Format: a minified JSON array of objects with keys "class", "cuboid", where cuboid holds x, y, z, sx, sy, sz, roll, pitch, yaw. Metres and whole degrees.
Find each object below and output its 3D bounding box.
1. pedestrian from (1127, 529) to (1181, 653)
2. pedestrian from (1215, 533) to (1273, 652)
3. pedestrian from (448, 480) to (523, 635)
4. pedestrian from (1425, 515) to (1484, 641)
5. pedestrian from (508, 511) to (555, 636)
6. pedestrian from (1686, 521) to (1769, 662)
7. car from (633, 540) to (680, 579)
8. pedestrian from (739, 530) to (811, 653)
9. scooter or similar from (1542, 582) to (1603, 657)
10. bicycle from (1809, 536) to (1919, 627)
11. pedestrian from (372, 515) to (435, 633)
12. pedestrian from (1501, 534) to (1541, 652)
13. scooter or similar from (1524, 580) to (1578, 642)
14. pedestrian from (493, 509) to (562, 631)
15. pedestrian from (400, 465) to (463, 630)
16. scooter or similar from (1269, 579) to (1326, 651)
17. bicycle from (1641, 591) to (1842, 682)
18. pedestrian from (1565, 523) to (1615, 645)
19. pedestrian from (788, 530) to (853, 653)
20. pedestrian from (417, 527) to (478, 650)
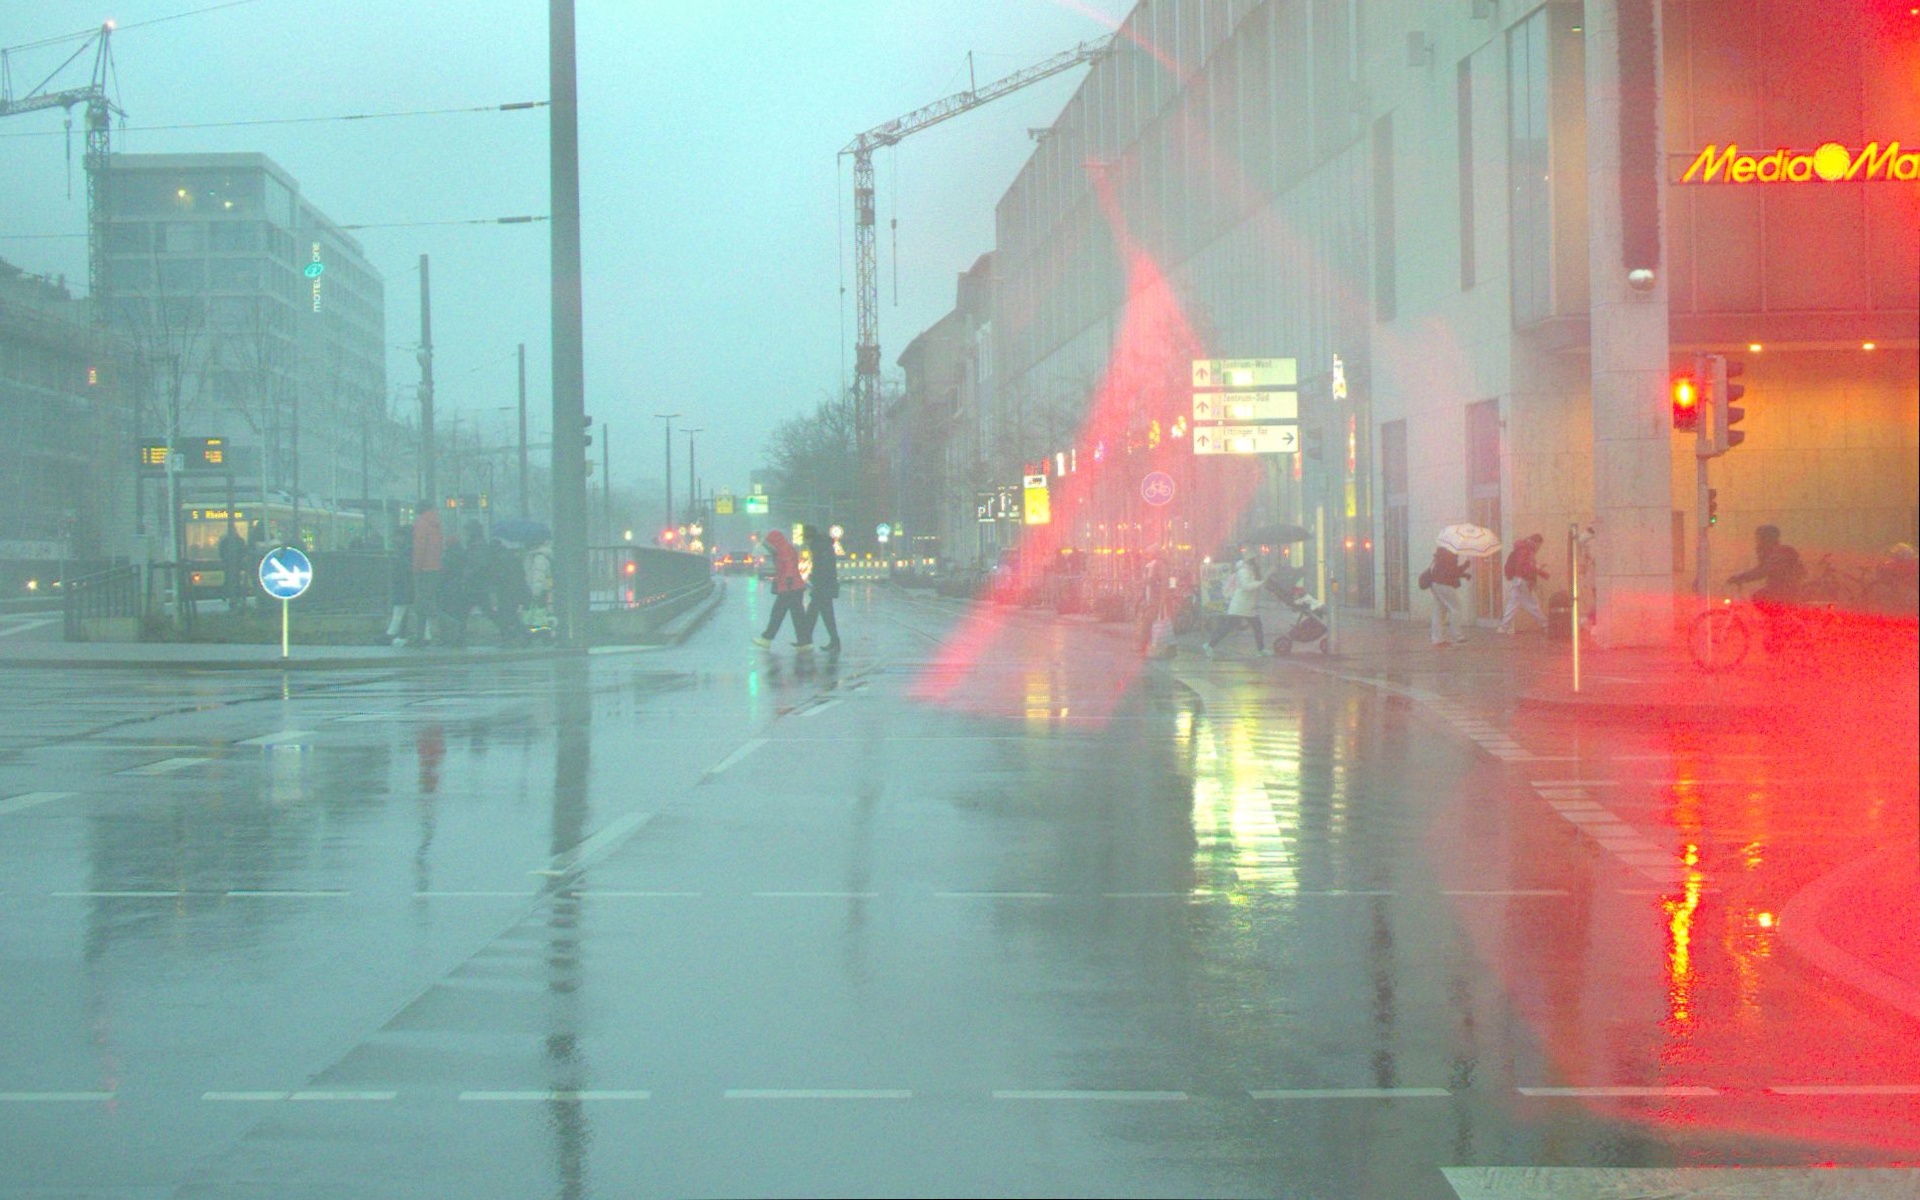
[{"class":"pedestrian","cuboid":[2.786,-0.139,49.335,0.703,1.754,0.652,-1,1,-1]},{"class":"pedestrian","cuboid":[3.997,-0.103,48.359,0.741,1.661,0.400,-1,1,12]},{"class":"pedestrian","cuboid":[-6.191,-0.557,44.868,0.775,2.007,0.613,-1,1,-28]},{"class":"pedestrian","cuboid":[6.944,-0.313,48.291,0.702,1.754,0.667,-1,1,-1]},{"class":"pedestrian","cuboid":[-6.056,-0.374,48.593,0.619,1.740,0.613,-1,1,-6]},{"class":"pedestrian","cuboid":[8.615,-0.096,38.603,0.815,1.564,0.536,-1,1,5]},{"class":"car","cuboid":[-14.220,-1.886,160.997,1.888,1.777,3.714,1,0,0]},{"class":"pedestrian","cuboid":[-2.554,-0.118,47.404,0.831,1.673,0.619,-1,1,12]},{"class":"scooter or similar","cuboid":[8.303,0.259,46.587,0.741,0.990,0.400,-1,1,1]},{"class":"bicycle","cuboid":[13.974,-0.279,51.349,2.425,1.325,0.635,-1,1,-5]},{"class":"pedestrian","cuboid":[-7.658,-0.361,47.329,0.706,1.613,0.680,-1,1,1]},{"class":"pedestrian","cuboid":[8.372,-0.106,51.305,0.512,1.754,0.374,-1,1,-1]},{"class":"scooter or similar","cuboid":[8.971,0.164,52.214,0.741,0.913,0.400,-1,1,1]},{"class":"pedestrian","cuboid":[-5.792,-0.406,46.117,0.809,1.602,0.745,-1,1,-1]},{"class":"pedestrian","cuboid":[-6.771,-0.673,44.007,0.685,2.080,0.613,-1,1,-16]},{"class":"scooter or similar","cuboid":[4.733,0.206,48.216,0.741,0.990,0.400,-1,1,12]},{"class":"bicycle","cuboid":[8.761,0.404,38.594,2.128,0.988,0.541,1,0,4]},{"class":"pedestrian","cuboid":[9.179,-0.237,50.088,0.617,1.754,0.482,-1,1,-1]},{"class":"pedestrian","cuboid":[-1.938,-0.127,47.907,0.843,1.682,0.677,-1,1,1]},{"class":"pedestrian","cuboid":[-6.845,-0.155,45.932,0.706,1.613,0.613,-1,1,-3]}]
